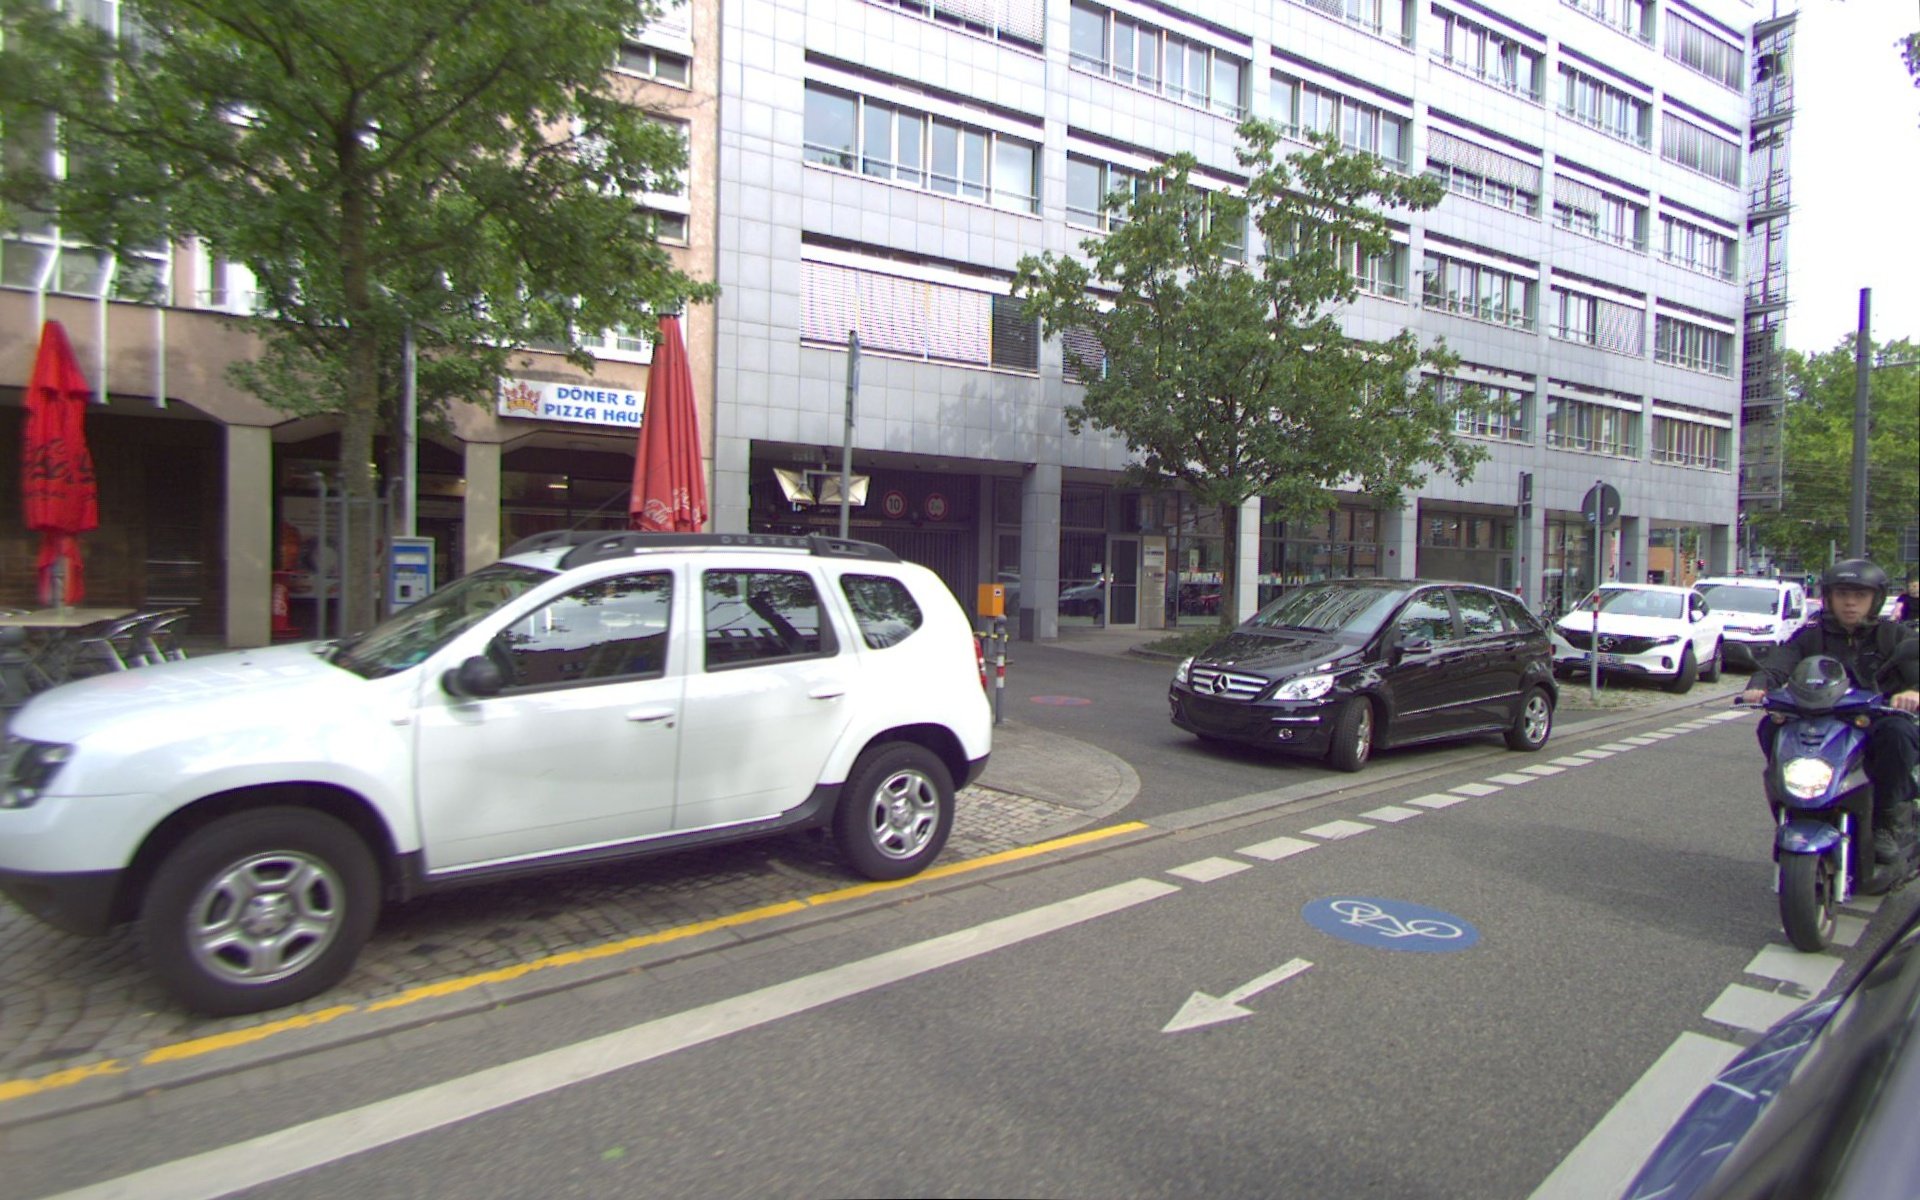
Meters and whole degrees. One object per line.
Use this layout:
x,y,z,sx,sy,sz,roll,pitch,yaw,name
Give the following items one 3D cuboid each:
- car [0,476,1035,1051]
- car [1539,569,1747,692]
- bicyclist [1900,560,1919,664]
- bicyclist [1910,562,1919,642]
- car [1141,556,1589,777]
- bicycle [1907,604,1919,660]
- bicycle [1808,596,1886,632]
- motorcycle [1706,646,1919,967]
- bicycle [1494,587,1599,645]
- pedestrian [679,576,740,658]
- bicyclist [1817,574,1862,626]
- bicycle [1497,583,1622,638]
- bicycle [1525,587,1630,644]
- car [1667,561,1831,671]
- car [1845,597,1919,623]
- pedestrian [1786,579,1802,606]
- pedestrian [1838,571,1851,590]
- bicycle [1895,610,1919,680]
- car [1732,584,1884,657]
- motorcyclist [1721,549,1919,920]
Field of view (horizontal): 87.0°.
-1.805,0.435,4.860,4.087,1.673,1.867,0,3,-38,car
11.337,0.410,16.660,1.996,1.622,4.510,6,4,44,car
16.990,0.217,17.736,1.017,1.790,0.591,0,2,-40,bicyclist
20.622,0.053,21.416,1.017,1.674,0.591,0,2,-40,bicyclist
3.880,0.473,9.465,4.222,1.596,1.782,0,3,-34,car
20.659,0.676,21.471,1.704,1.153,0.595,0,2,-41,bicycle
31.068,0.483,35.494,0.711,1.153,1.909,1,2,-23,bicycle
4.394,0.864,4.960,2.171,1.121,0.768,-1,3,-43,motorcycle
13.349,0.332,23.099,0.470,1.212,2.064,1,2,-32,bicycle
-3.776,0.243,15.238,0.685,1.171,0.824,1,1,-29,pedestrian
30.999,-0.009,35.684,0.704,1.786,0.918,1,2,-23,bicyclist
15.135,0.243,25.617,0.643,1.274,2.638,0,2,-40,bicycle
14.349,0.345,23.573,0.470,1.212,2.064,1,2,-32,bicycle
15.825,0.255,20.207,4.570,1.887,1.830,0,4,-43,car
61.234,0.661,66.269,4.560,1.682,1.961,0,0,8,car
57.431,-0.501,69.718,0.657,1.813,0.678,0,2,-38,pedestrian
83.453,-1.849,95.450,0.728,1.753,0.589,0,2,-21,pedestrian
17.015,0.768,17.785,2.054,1.153,0.595,0,2,-41,bicycle
19.914,0.444,23.713,4.174,1.450,1.729,0,4,-37,car
4.174,0.542,4.749,1.000,1.538,0.760,-1,2,-42,motorcyclist
